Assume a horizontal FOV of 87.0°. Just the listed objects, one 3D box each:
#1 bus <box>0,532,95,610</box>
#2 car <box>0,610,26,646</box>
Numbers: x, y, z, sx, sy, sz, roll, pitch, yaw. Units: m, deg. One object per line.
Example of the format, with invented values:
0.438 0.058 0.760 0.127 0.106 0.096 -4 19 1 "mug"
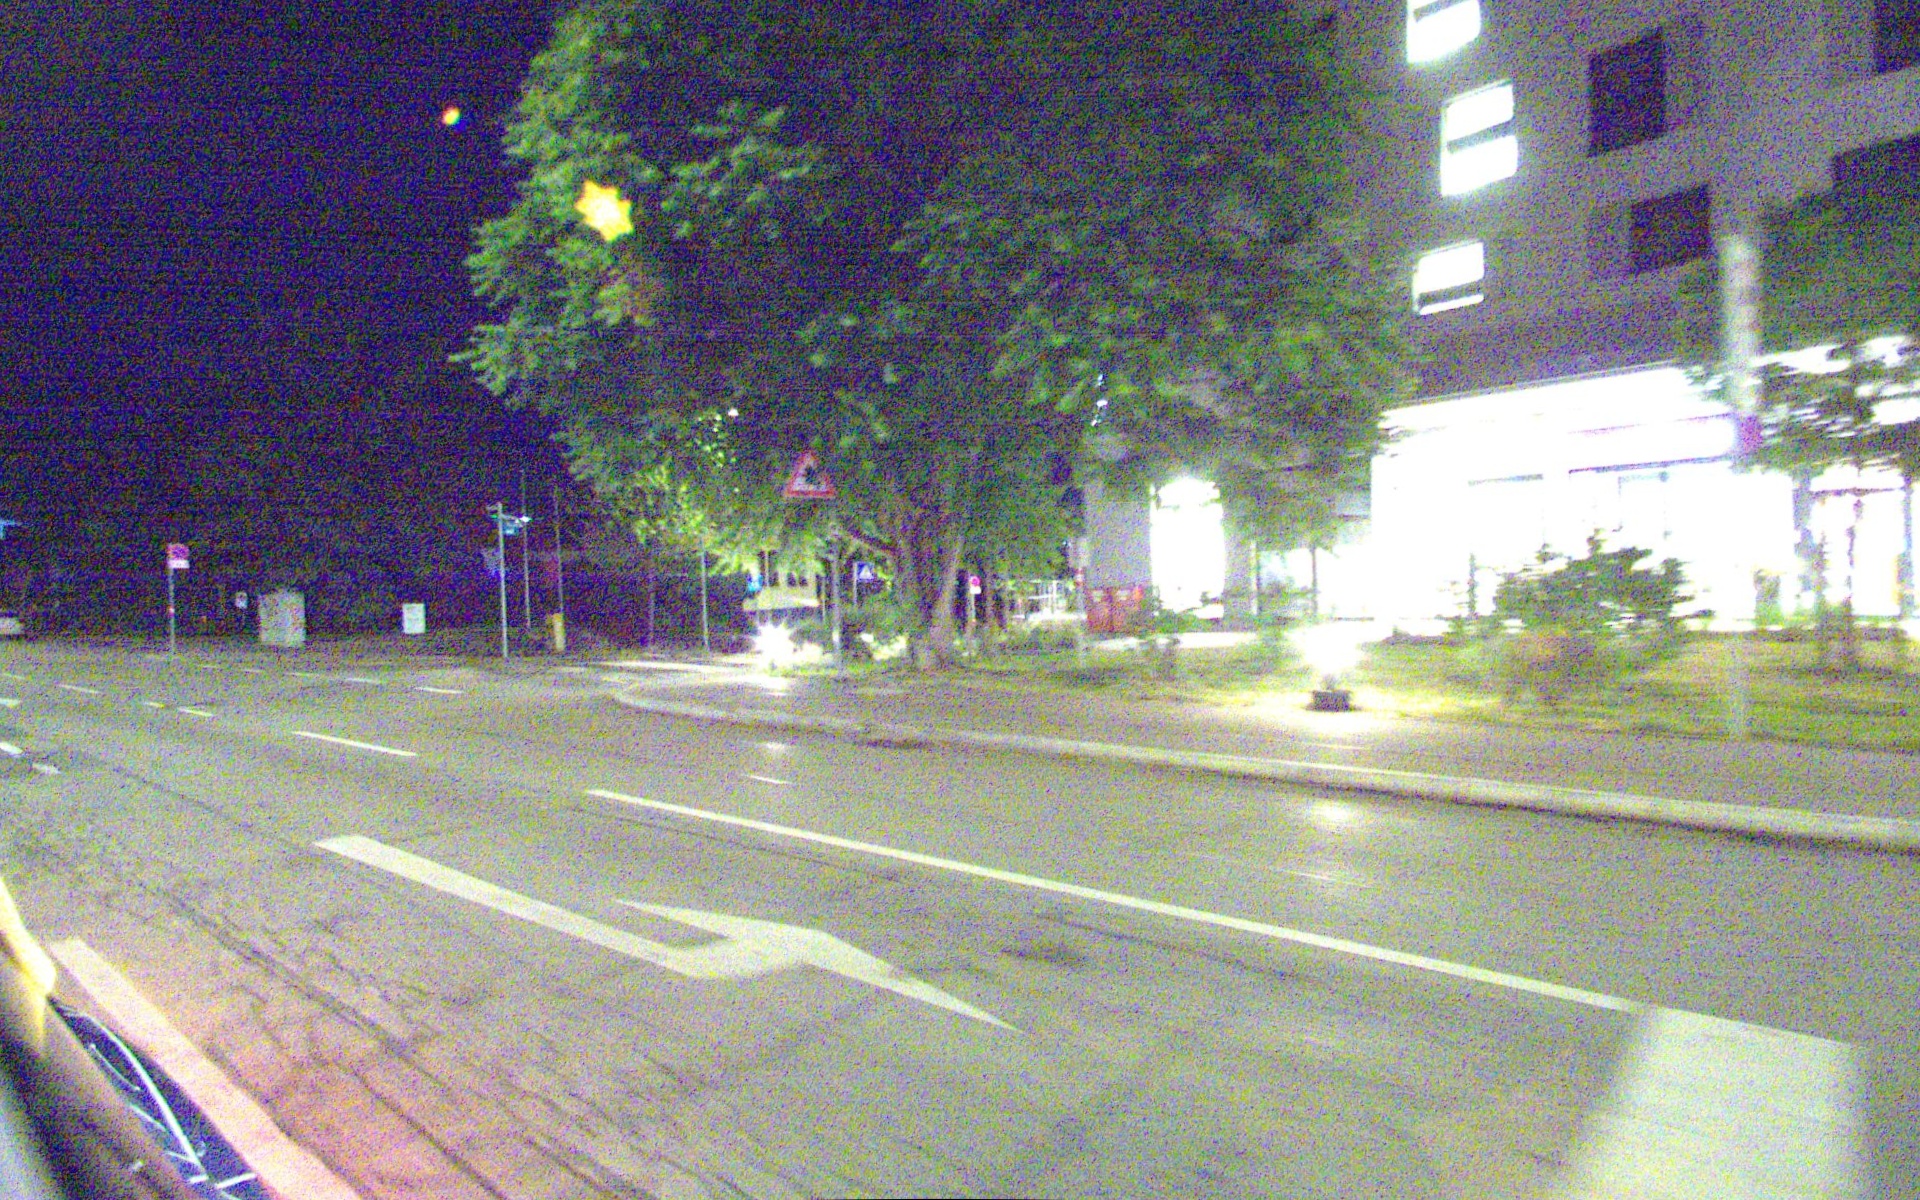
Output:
-90.032 -2.614 98.999 14.775 6.990 6.057 -1 0 41 "bus"
-44.518 1.286 46.558 3.997 1.604 1.783 -1 0 40 "car"
